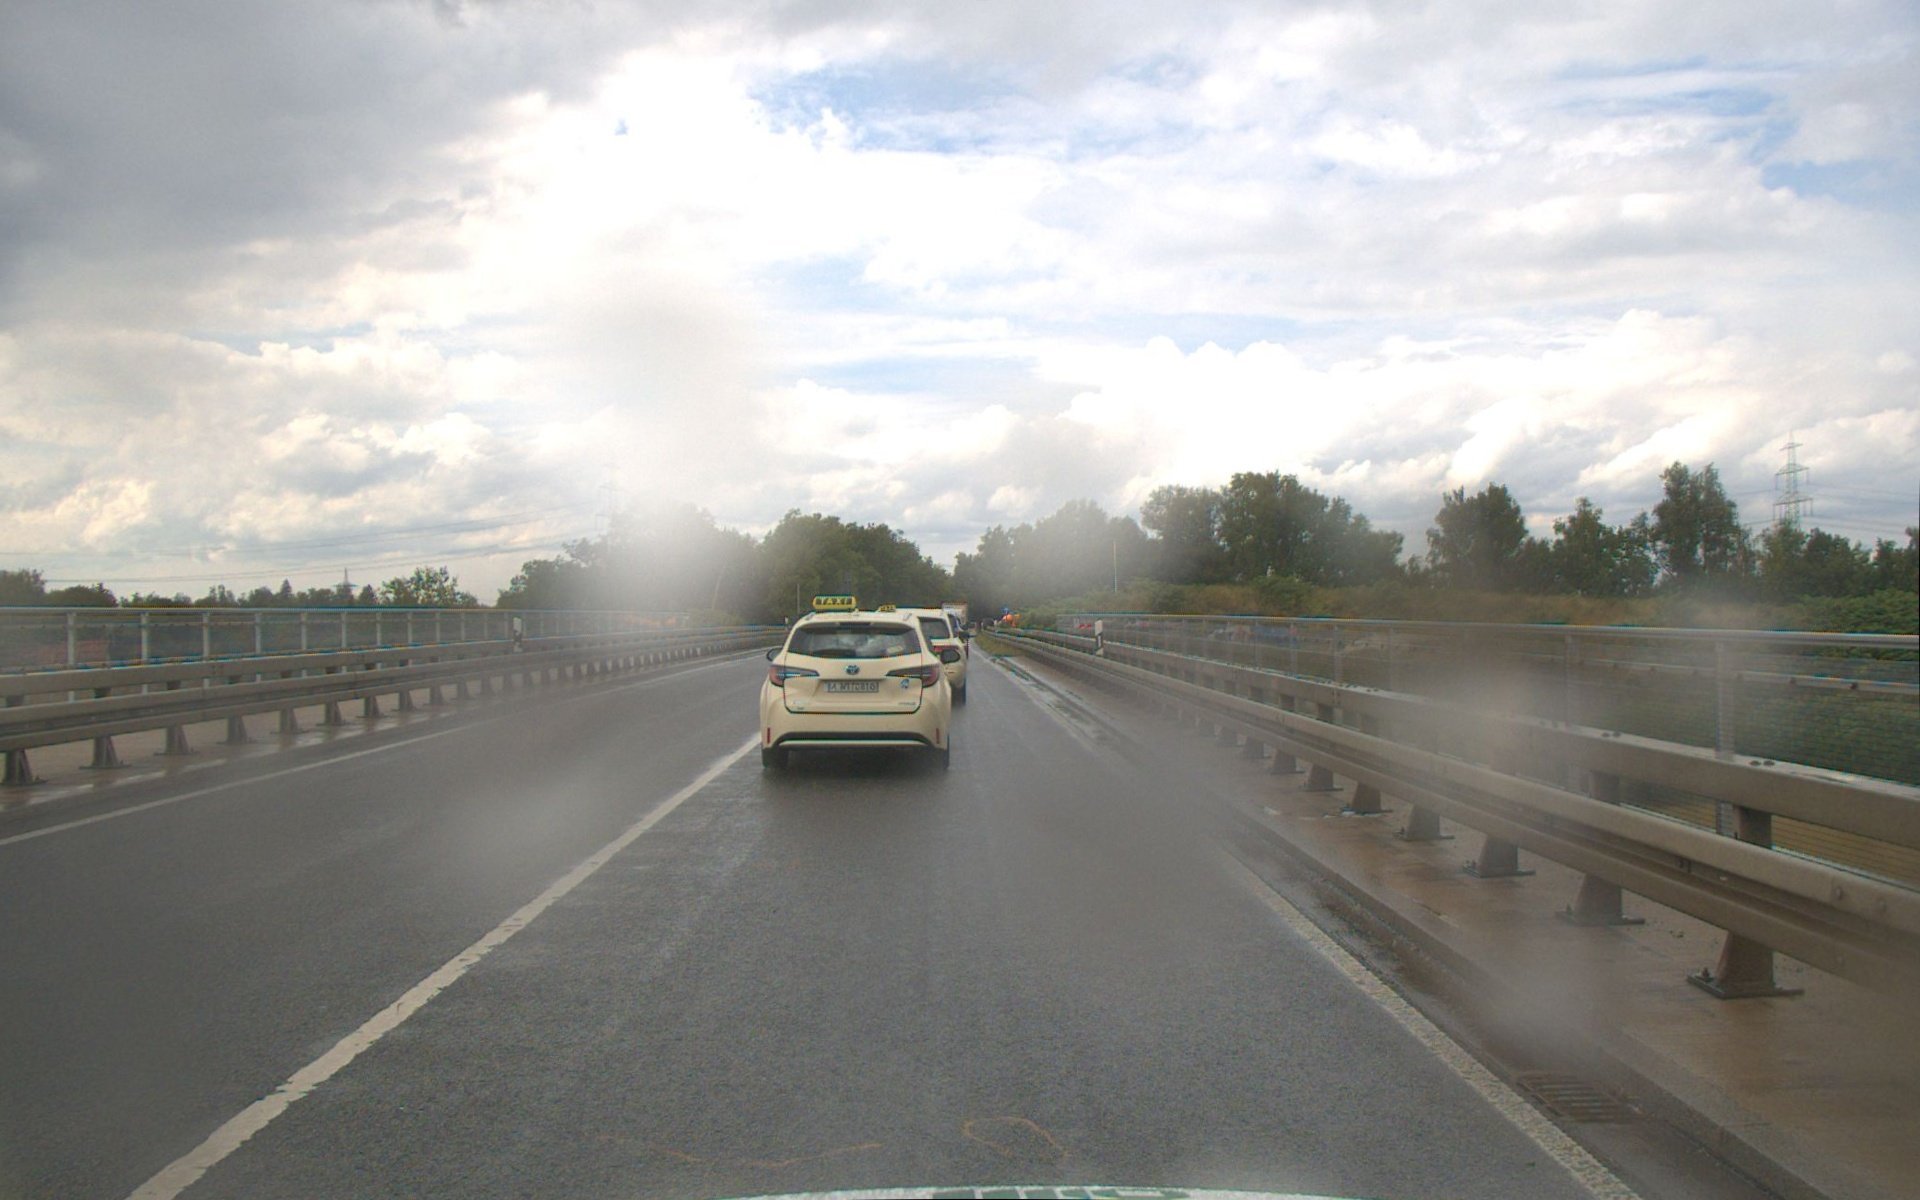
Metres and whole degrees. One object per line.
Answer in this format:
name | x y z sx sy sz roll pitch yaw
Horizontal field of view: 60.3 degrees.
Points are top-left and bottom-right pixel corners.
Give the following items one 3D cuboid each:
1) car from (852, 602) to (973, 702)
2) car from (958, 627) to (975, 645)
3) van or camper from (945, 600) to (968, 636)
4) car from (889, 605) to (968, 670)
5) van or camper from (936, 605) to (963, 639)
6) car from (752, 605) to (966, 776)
car | -0.753 0.797 27.221 1.817 1.468 4.170 1 0 -1
car | 0.749 4.308 199.910 1.953 2.049 3.999 1 0 -2
van or camper | -0.405 1.819 172.059 2.285 3.625 6.305 1 0 -1
car | -0.768 0.875 40.699 1.817 1.468 4.170 1 0 -1
van or camper | -0.957 1.932 146.001 2.285 2.914 6.305 1 0 -1
car | -0.904 0.790 16.327 1.817 1.418 4.170 1 0 -1
